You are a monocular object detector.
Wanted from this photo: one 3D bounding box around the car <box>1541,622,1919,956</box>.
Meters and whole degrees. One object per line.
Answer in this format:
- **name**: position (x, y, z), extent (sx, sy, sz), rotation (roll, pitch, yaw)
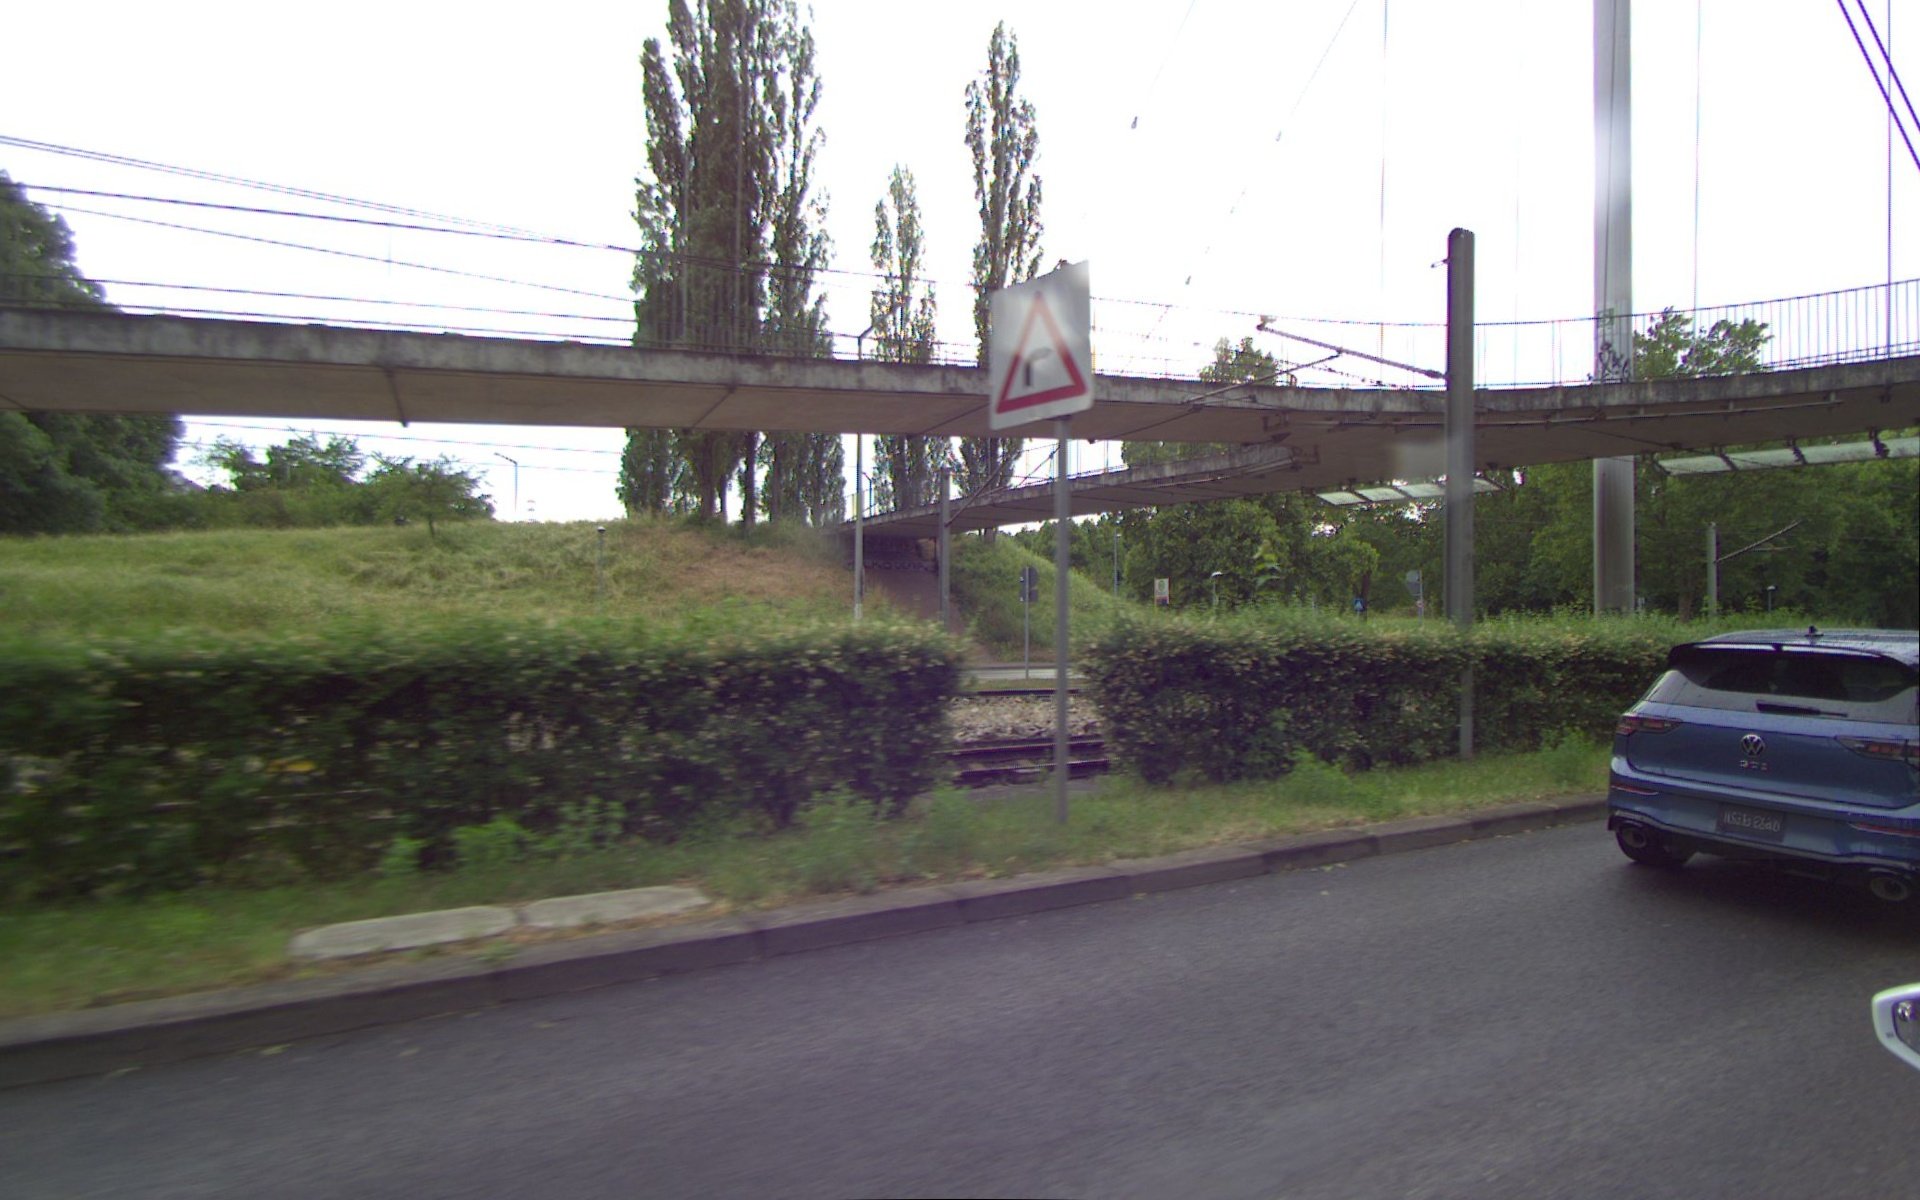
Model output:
- **car**: position (5.639, 0.877, 6.047), extent (4.295, 1.397, 1.800), rotation (1, 0, -30)
